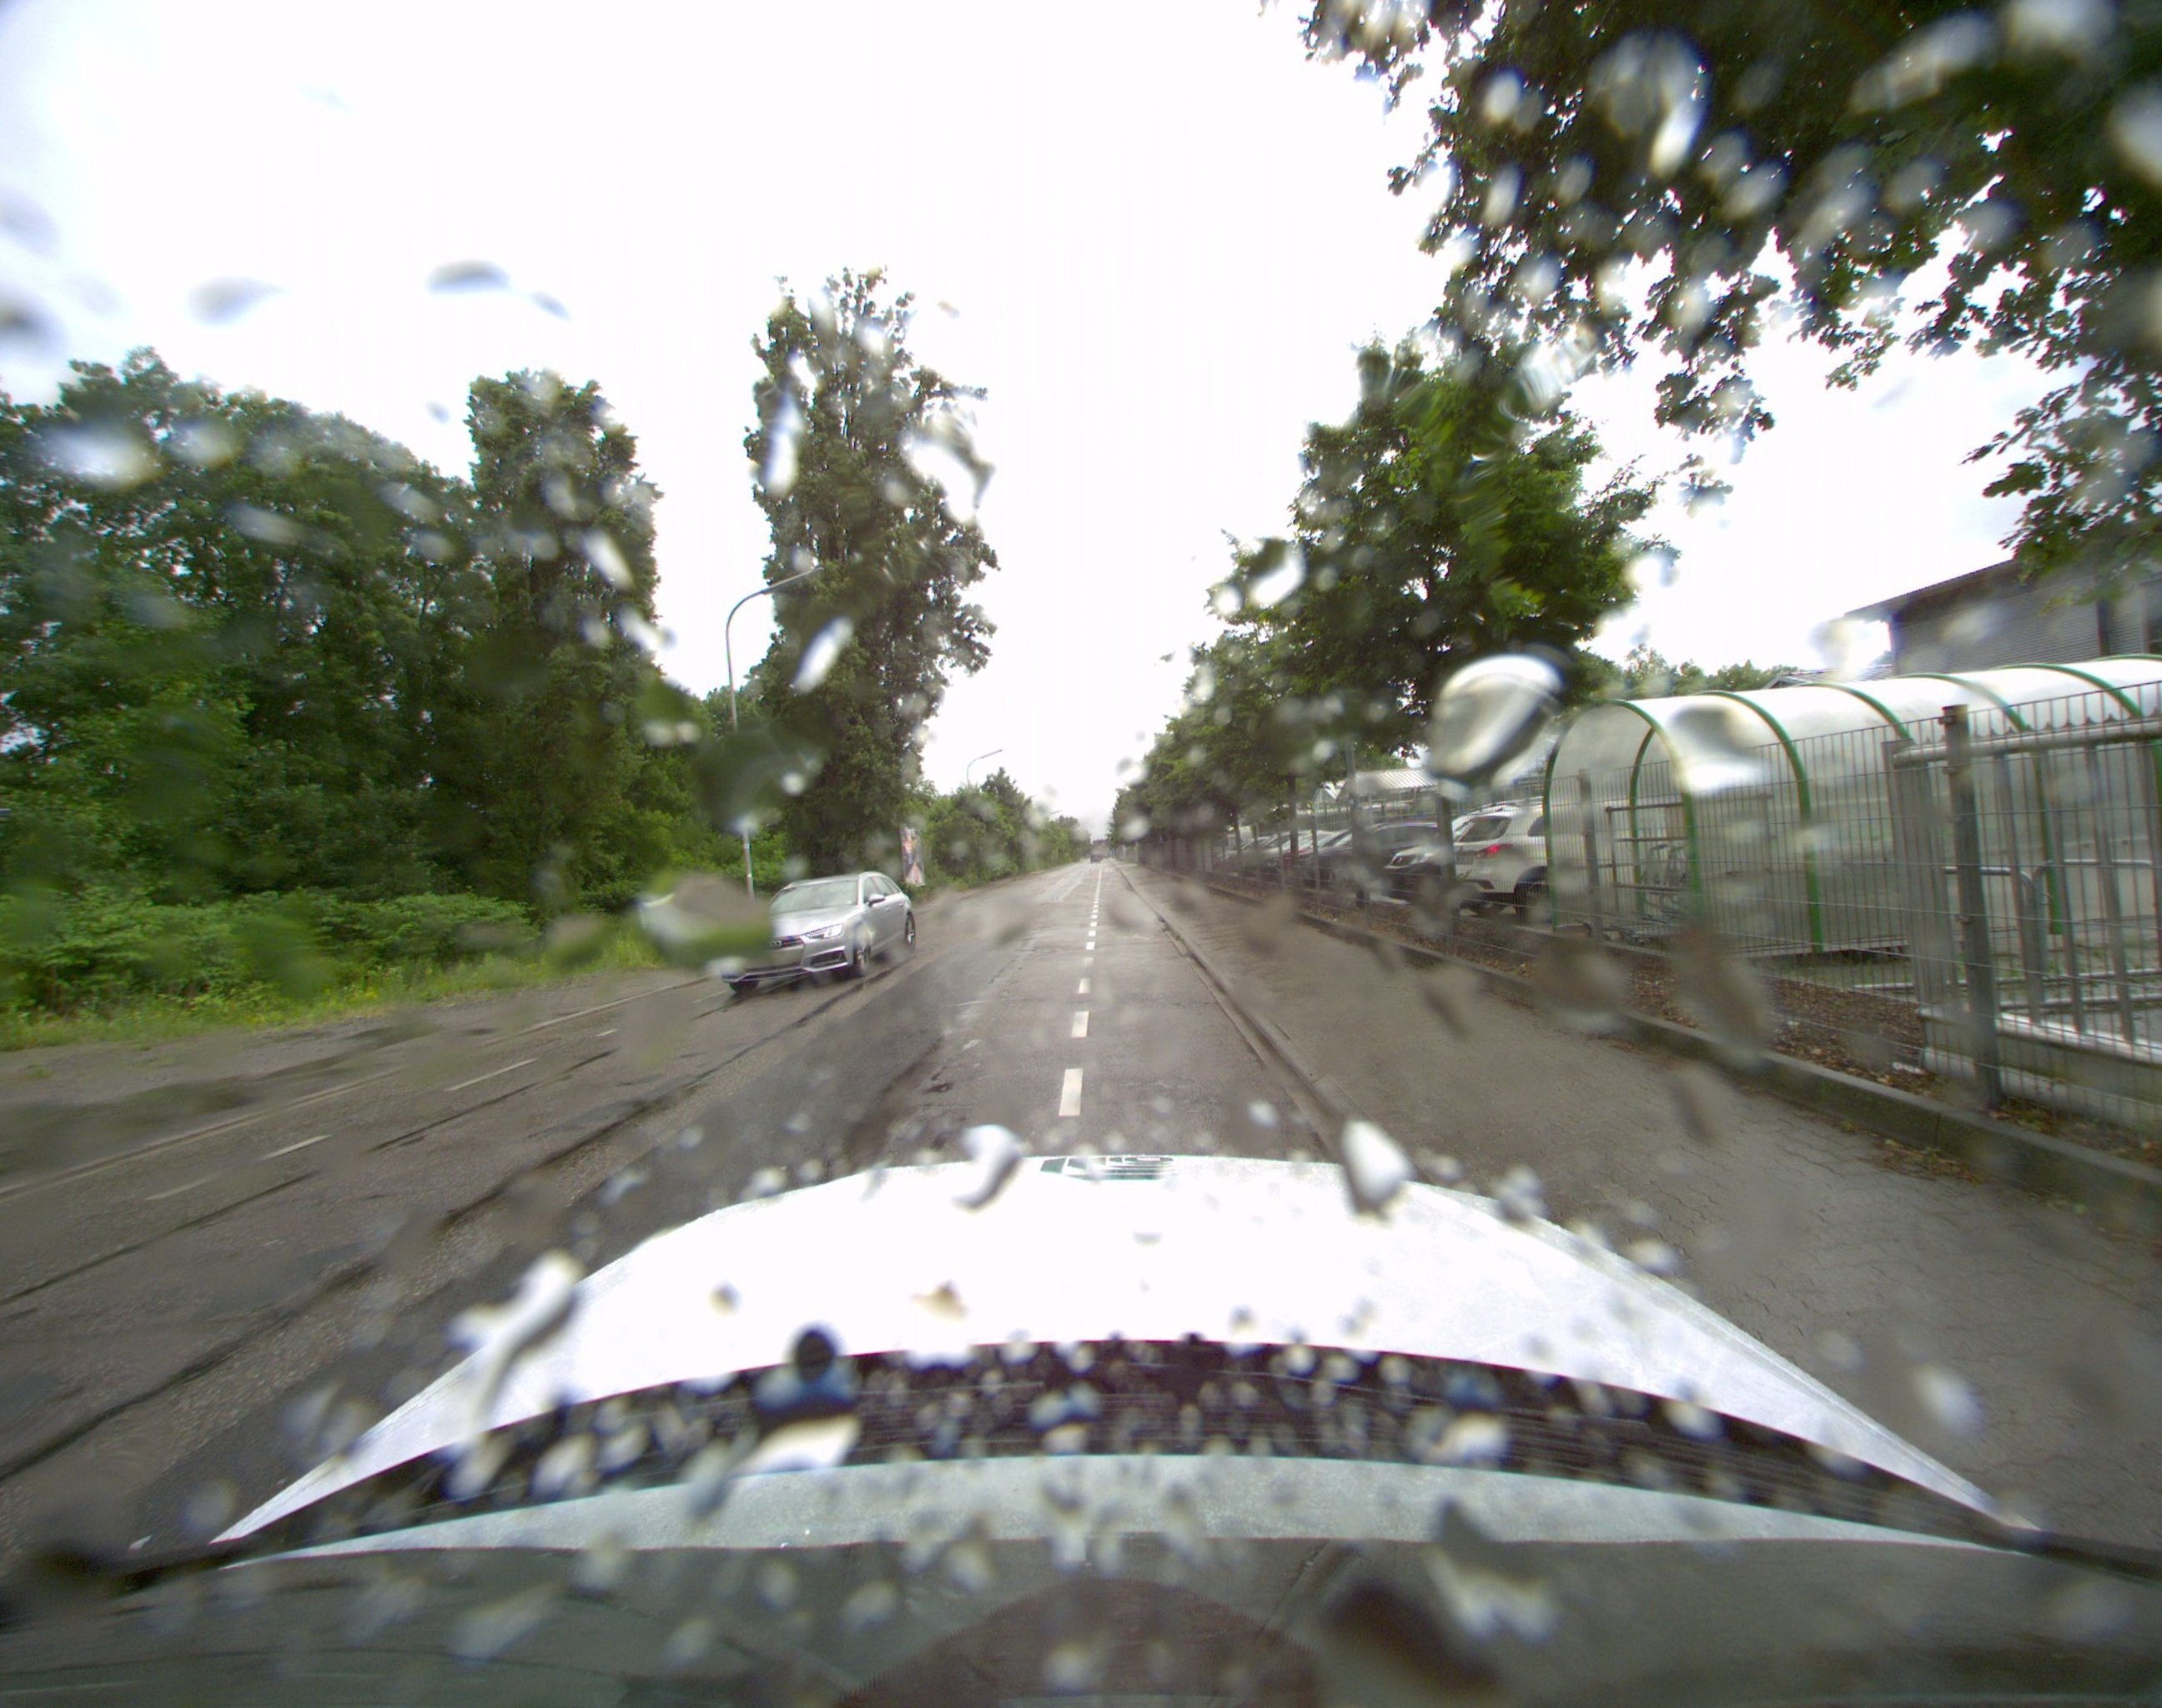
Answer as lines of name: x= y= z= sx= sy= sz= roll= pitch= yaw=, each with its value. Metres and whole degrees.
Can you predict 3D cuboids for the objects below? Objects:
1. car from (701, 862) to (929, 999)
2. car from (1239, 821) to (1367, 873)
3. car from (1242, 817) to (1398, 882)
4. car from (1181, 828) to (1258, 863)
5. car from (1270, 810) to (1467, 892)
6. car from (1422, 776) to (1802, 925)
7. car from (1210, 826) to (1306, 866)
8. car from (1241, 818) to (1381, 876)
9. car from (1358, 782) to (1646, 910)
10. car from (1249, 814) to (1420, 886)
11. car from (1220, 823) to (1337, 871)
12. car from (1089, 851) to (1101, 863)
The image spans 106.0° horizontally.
car: x=-3.789 y=0.995 z=12.523 sx=1.727 sy=1.450 sz=4.384 roll=-8 pitch=0 yaw=2
car: x=8.327 y=-0.254 z=30.770 sx=4.203 sy=1.534 sz=1.820 roll=-5 pitch=0 yaw=-6
car: x=7.424 y=-0.150 z=25.511 sx=4.203 sy=1.618 sz=1.820 roll=-5 pitch=0 yaw=-6
car: x=8.359 y=-0.513 z=49.350 sx=4.197 sy=1.677 sz=1.823 roll=-5 pitch=0 yaw=-2
car: x=7.159 y=-0.075 z=20.499 sx=4.203 sy=1.618 sz=1.820 roll=-5 pitch=0 yaw=-6
car: x=7.439 y=-0.052 z=11.739 sx=4.194 sy=1.600 sz=1.824 roll=-5 pitch=0 yaw=0
car: x=8.640 y=-0.388 z=40.024 sx=4.197 sy=1.588 sz=1.823 roll=-5 pitch=0 yaw=-2
car: x=7.943 y=-0.245 z=28.300 sx=4.203 sy=1.618 sz=1.820 roll=-5 pitch=0 yaw=-6
car: x=7.442 y=-0.153 z=14.631 sx=4.203 sy=1.794 sz=1.820 roll=-5 pitch=0 yaw=-6
car: x=7.207 y=-0.119 z=23.372 sx=4.203 sy=1.618 sz=1.820 roll=-5 pitch=0 yaw=-6
car: x=8.070 y=-0.285 z=33.431 sx=4.203 sy=1.588 sz=1.820 roll=-5 pitch=0 yaw=-6
car: x=2.519 y=0.567 z=145.963 sx=1.987 sy=1.910 sz=4.201 roll=-6 pitch=-1 yaw=1
